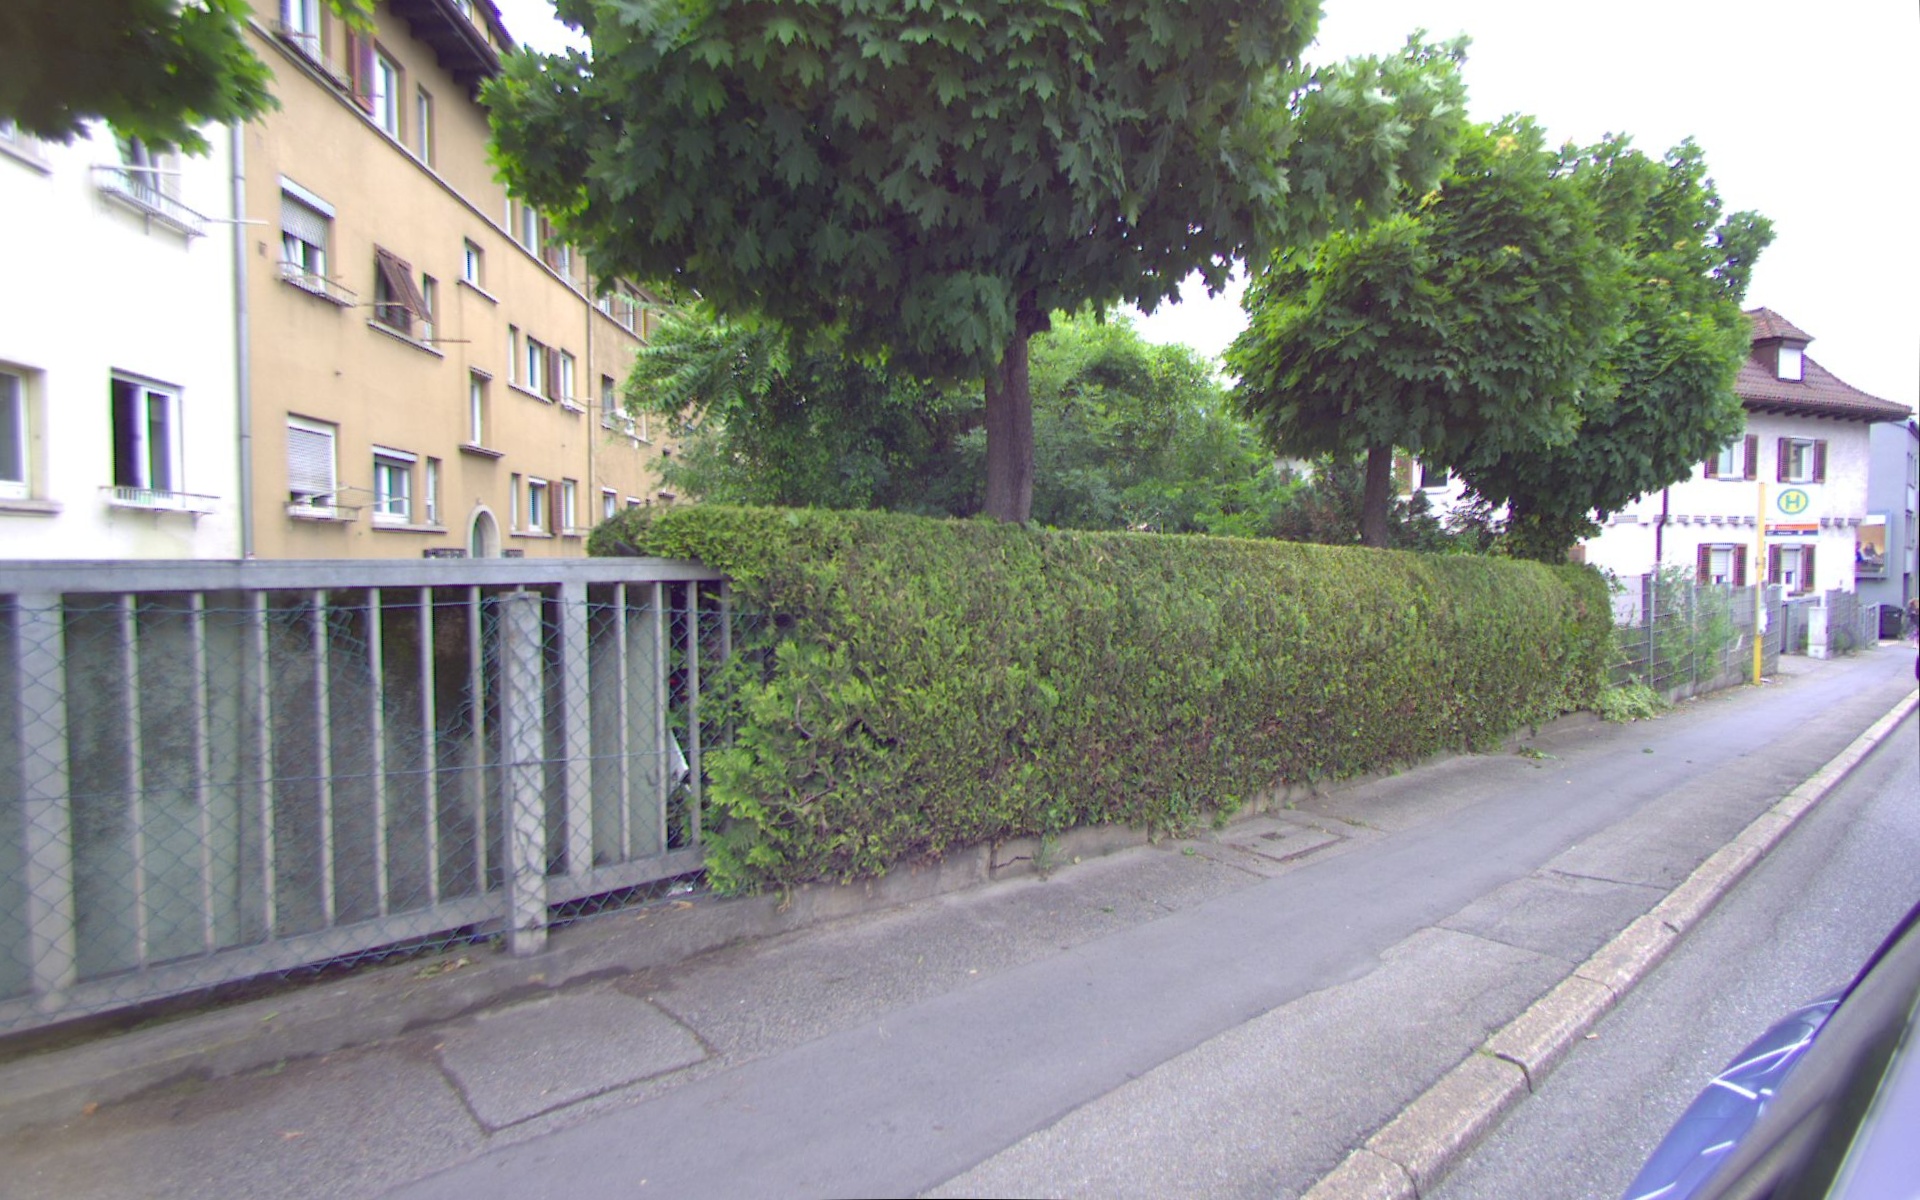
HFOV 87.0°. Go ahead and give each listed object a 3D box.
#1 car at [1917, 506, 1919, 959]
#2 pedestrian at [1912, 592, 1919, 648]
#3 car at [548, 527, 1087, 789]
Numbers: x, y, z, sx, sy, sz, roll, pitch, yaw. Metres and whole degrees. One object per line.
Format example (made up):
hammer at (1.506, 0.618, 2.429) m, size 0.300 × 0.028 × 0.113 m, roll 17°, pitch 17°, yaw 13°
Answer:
car at (5.802, 0.543, 4.456) m, size 4.629 × 1.804 × 1.861 m, roll -1°, pitch 0°, yaw -41°
pedestrian at (32.654, 0.686, 34.113) m, size 0.580 × 1.863 × 0.649 m, roll 1°, pitch 0°, yaw -26°
car at (-1.019, 0.304, 7.077) m, size 3.367 × 1.478 × 1.705 m, roll 0°, pitch 0°, yaw -20°
